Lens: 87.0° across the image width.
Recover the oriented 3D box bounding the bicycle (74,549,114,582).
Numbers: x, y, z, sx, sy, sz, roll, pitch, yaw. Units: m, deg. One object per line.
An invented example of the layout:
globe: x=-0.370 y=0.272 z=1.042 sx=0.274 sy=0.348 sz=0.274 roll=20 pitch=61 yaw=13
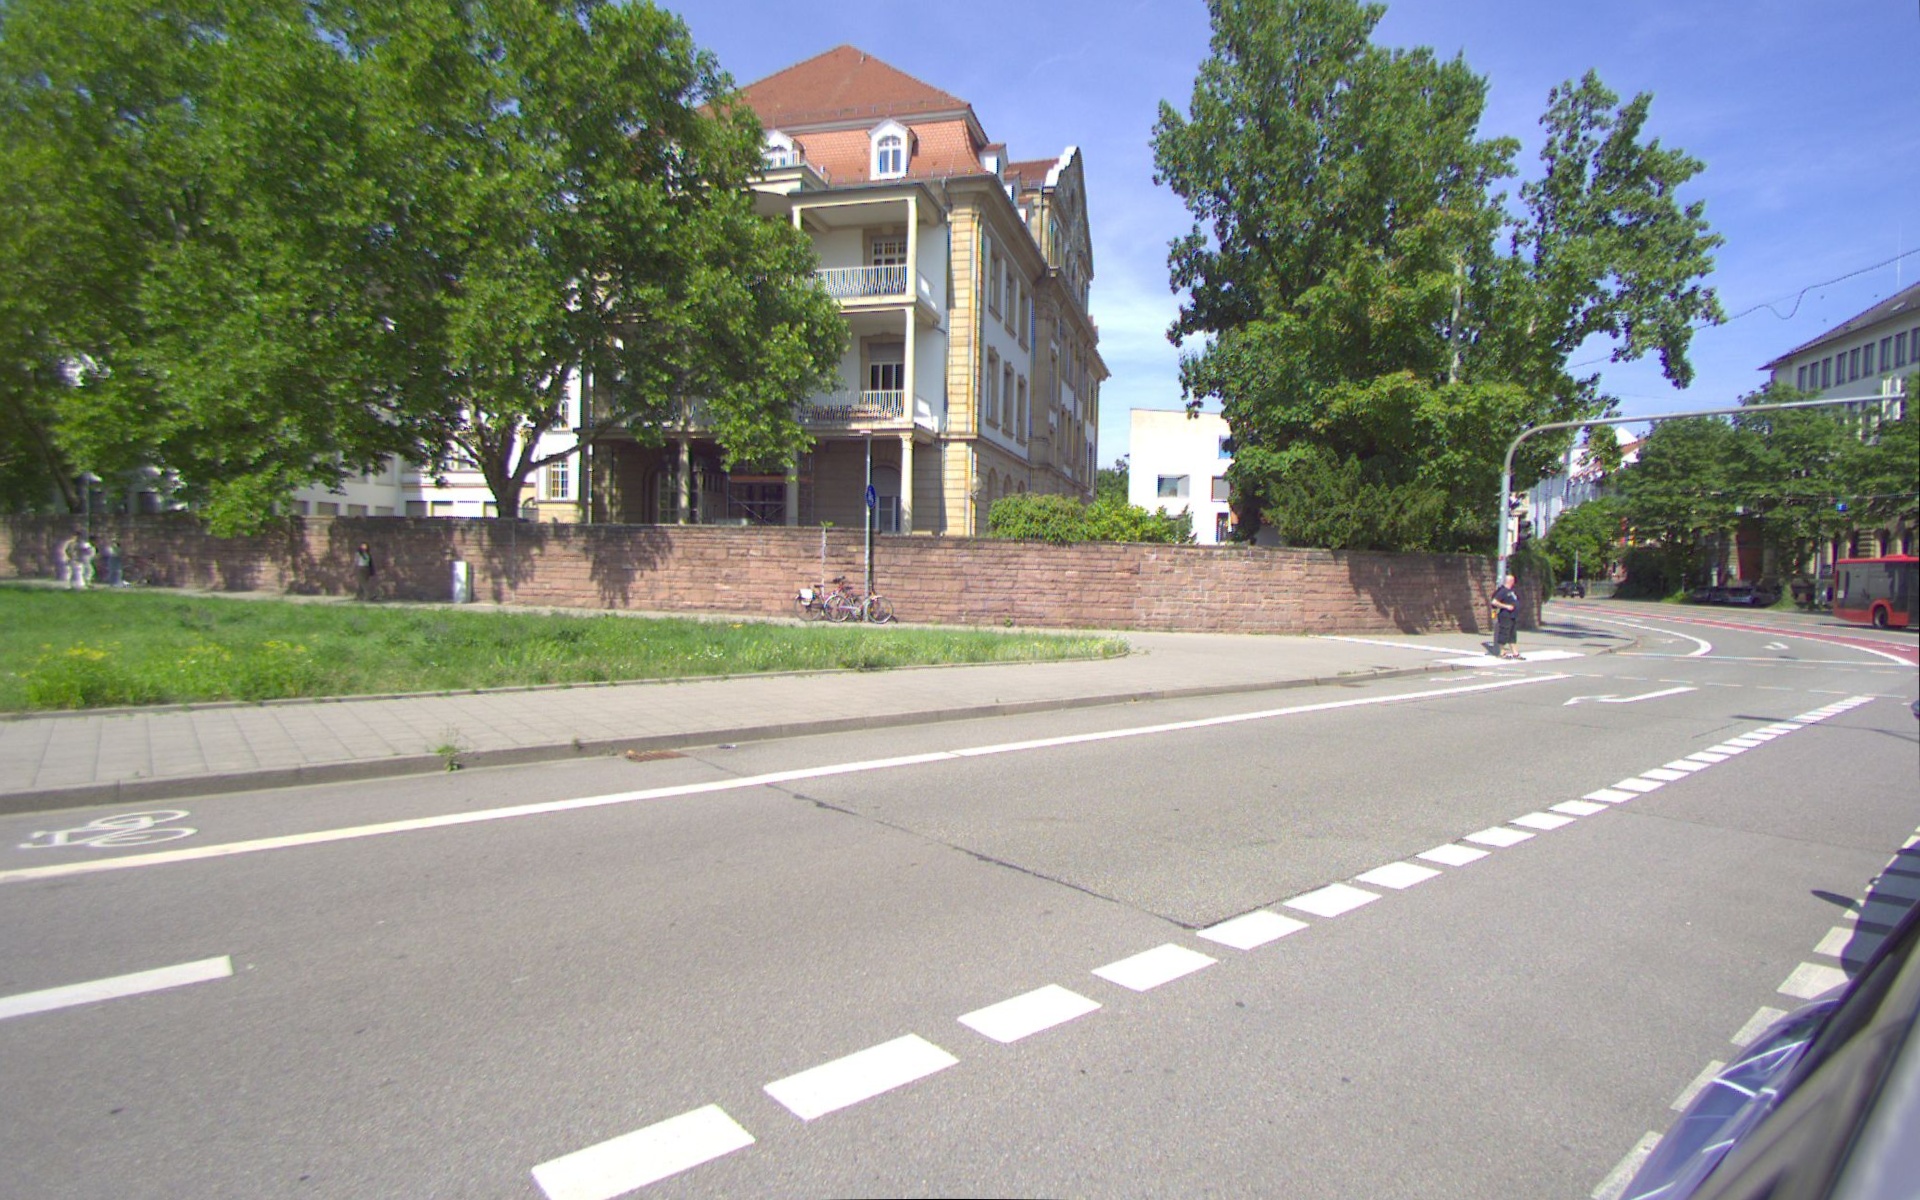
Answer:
bicycle: x=-28.874 y=-1.153 z=33.722 sx=1.432 sy=1.046 sz=0.444 roll=3 pitch=2 yaw=24

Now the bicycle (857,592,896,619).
bicycle: x=-2.060 y=0.131 z=24.935 sx=0.929 sy=0.609 sz=0.275 roll=2 pitch=2 yaw=-2

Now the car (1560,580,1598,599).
car: x=56.119 y=-0.959 z=91.877 sx=1.973 sy=1.638 sz=3.978 roll=0 pitch=0 yaw=17

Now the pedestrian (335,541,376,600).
pedestrian: x=-16.582 y=-0.810 z=27.770 sx=0.901 sy=1.567 sz=0.501 roll=2 pitch=2 yaw=16

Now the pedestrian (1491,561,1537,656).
pedestrian: x=12.243 y=0.172 z=22.363 sx=0.790 sy=2.038 sz=0.608 roll=2 pitch=1 yaw=35

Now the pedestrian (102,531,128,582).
pedestrian: x=-26.604 y=-1.365 z=31.849 sx=0.700 sy=1.597 sz=0.516 roll=3 pitch=3 yaw=41

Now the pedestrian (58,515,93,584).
pedestrian: x=-26.323 y=-1.502 z=30.127 sx=0.586 sy=2.038 sz=0.522 roll=1 pitch=2 yaw=9

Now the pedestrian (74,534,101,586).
pedestrian: x=-26.983 y=-1.237 z=31.294 sx=0.700 sy=1.597 sz=0.516 roll=3 pitch=3 yaw=41

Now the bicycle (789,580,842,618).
bicycle: x=-3.544 y=-0.017 z=24.771 sx=1.202 sy=0.894 sz=0.395 roll=1 pitch=2 yaw=-21

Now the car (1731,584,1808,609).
car: x=59.640 y=-0.268 z=74.617 sx=3.941 sy=1.682 sz=1.993 roll=0 pitch=3 yaw=14

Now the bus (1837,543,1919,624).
bus: x=38.184 y=-0.628 z=37.666 sx=3.087 sy=3.133 sz=12.359 roll=0 pitch=1 yaw=14

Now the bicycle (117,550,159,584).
bicycle: x=-26.575 y=-1.077 z=32.706 sx=1.432 sy=1.046 sz=0.444 roll=3 pitch=2 yaw=24

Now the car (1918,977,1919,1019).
car: x=5.387 y=0.660 z=4.034 sx=4.077 sy=1.605 sz=1.688 roll=0 pitch=3 yaw=-39
